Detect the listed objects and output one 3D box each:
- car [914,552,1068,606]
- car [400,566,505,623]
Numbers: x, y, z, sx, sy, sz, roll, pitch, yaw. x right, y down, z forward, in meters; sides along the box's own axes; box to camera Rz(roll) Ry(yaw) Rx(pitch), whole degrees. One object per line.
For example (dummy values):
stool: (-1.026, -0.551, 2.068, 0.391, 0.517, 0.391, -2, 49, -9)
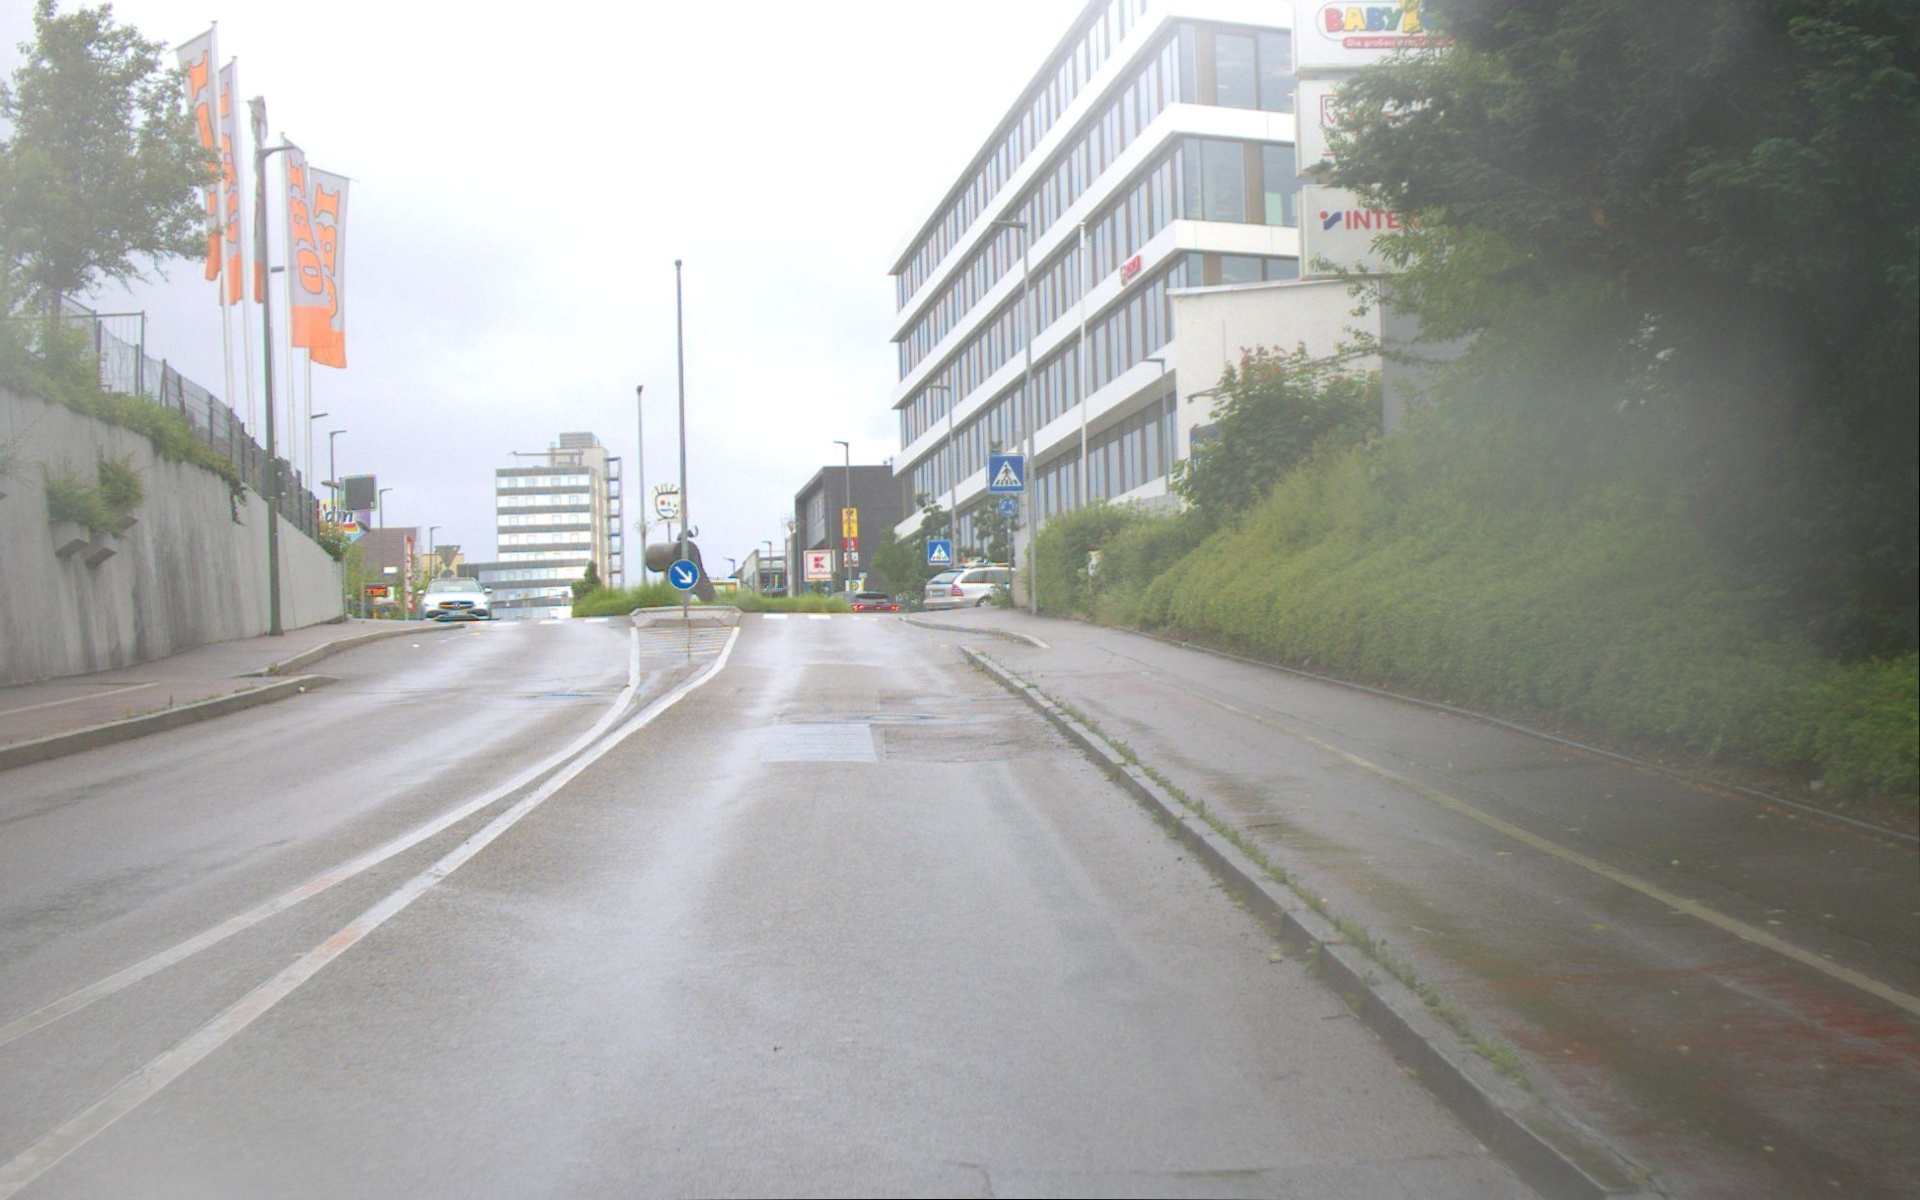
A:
car: (0.853, -0.580, 92.597, 4.238, 1.357, 1.644, -2, 2, -45)
car: (-13.879, -0.161, 93.851, 2.001, 1.421, 4.782, -2, 1, -18)
